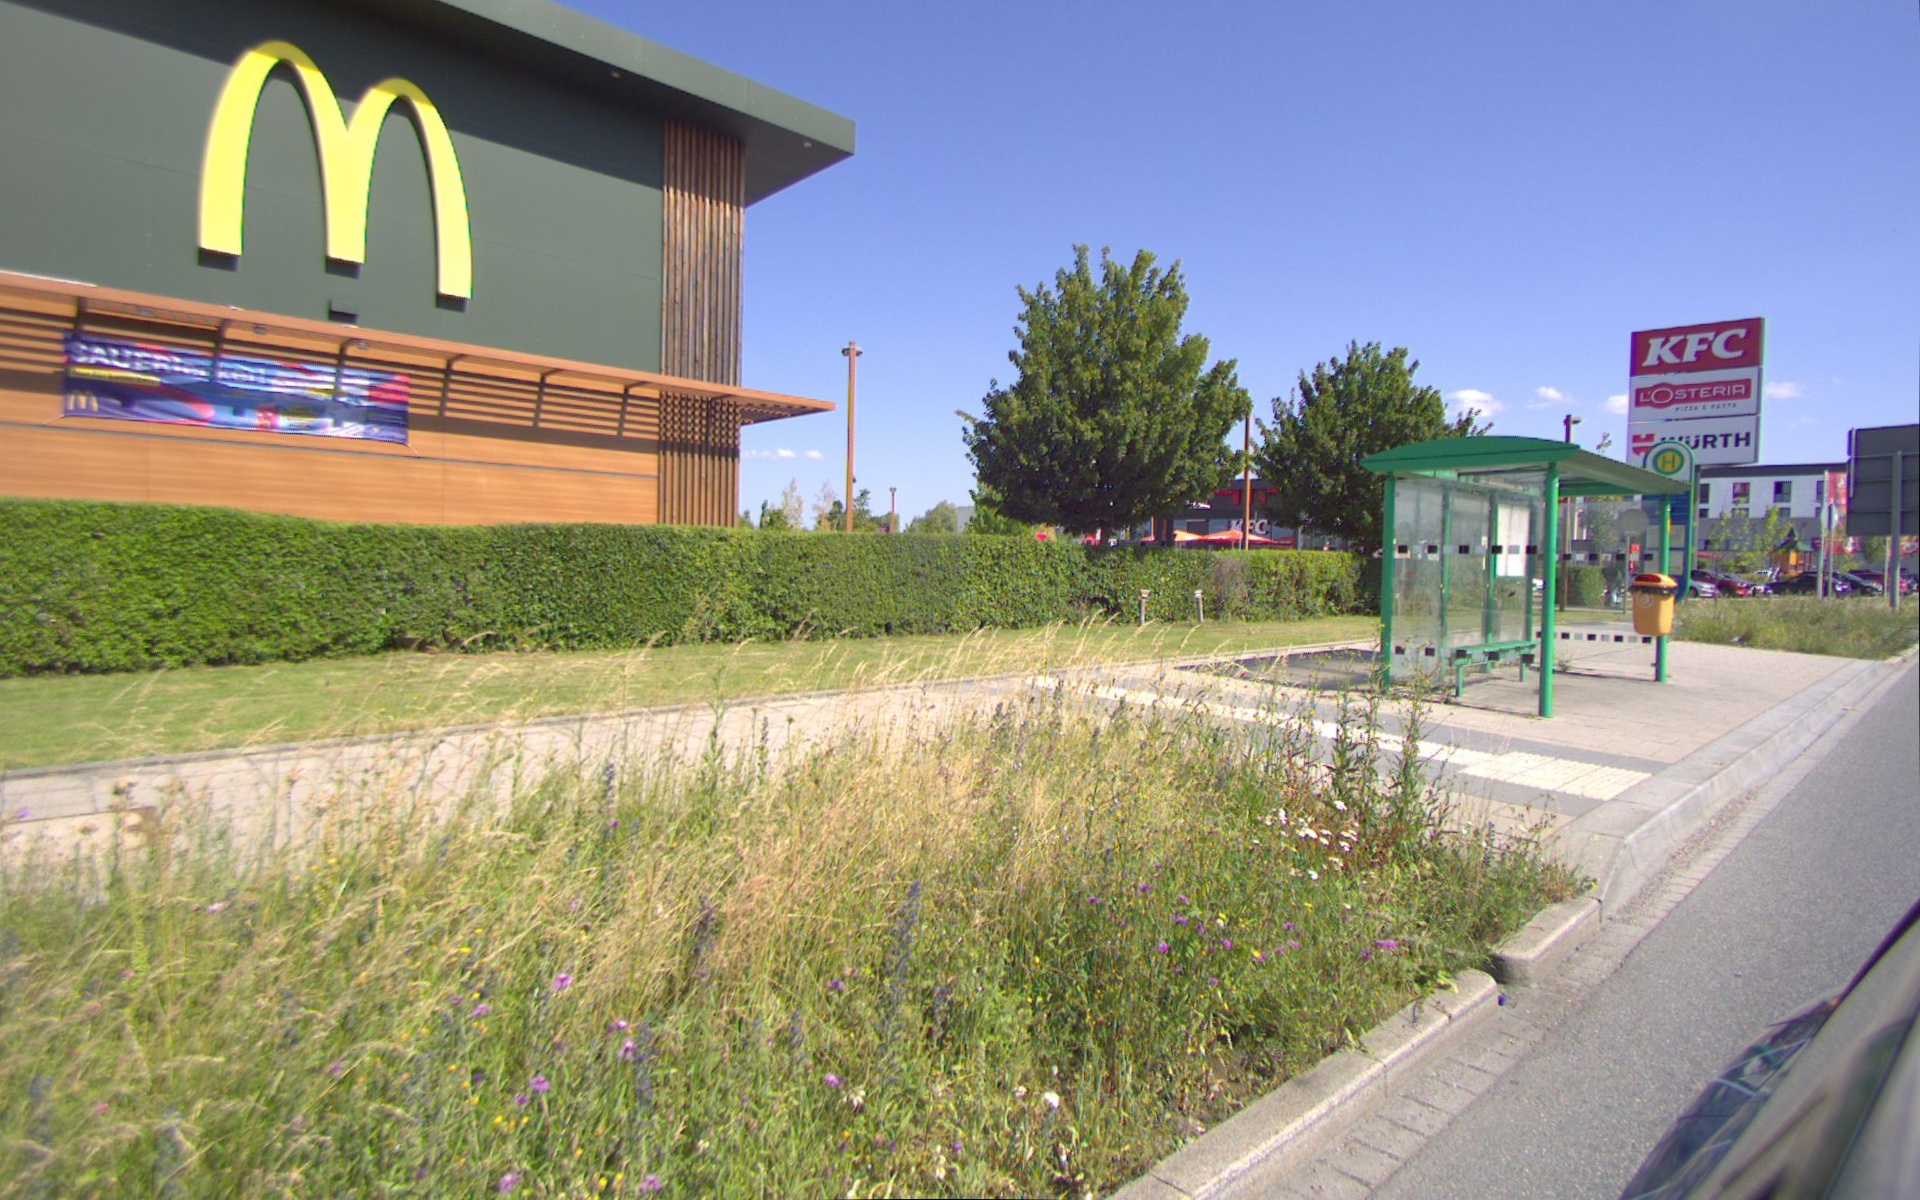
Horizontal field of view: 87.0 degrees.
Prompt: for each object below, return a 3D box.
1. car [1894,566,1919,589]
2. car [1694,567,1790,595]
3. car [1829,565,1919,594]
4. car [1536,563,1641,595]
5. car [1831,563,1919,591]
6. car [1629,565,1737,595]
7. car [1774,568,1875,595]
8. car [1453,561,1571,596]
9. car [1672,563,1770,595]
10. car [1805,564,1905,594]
[{"bbox_3d":[67.167,-1.481,69.163,1.954,1.585,4.430,0,3,-26],"label":"car"},{"bbox_3d":[46.789,-1.152,60.648,1.756,1.467,4.171,0,3,-33],"label":"car"},{"bbox_3d":[60.542,-1.391,66.784,1.754,1.756,4.431,1,3,-24],"label":"car"},{"bbox_3d":[32.342,-1.097,52.182,1.833,1.508,4.220,0,3,-35],"label":"car"},{"bbox_3d":[62.972,-1.570,68.990,1.899,1.756,5.009,0,3,-26],"label":"car"},{"bbox_3d":[40.697,-1.160,57.069,1.832,1.508,4.576,0,3,-31],"label":"car"},{"bbox_3d":[54.138,-1.182,63.477,1.754,1.467,4.430,0,3,-25],"label":"car"},{"bbox_3d":[26.170,-1.063,48.127,1.833,1.508,4.543,0,3,-34],"label":"car"},{"bbox_3d":[44.612,-1.258,59.428,1.830,1.685,4.175,0,3,-27],"label":"car"},{"bbox_3d":[57.794,-1.367,65.443,1.754,1.756,4.431,1,3,-24],"label":"car"}]
